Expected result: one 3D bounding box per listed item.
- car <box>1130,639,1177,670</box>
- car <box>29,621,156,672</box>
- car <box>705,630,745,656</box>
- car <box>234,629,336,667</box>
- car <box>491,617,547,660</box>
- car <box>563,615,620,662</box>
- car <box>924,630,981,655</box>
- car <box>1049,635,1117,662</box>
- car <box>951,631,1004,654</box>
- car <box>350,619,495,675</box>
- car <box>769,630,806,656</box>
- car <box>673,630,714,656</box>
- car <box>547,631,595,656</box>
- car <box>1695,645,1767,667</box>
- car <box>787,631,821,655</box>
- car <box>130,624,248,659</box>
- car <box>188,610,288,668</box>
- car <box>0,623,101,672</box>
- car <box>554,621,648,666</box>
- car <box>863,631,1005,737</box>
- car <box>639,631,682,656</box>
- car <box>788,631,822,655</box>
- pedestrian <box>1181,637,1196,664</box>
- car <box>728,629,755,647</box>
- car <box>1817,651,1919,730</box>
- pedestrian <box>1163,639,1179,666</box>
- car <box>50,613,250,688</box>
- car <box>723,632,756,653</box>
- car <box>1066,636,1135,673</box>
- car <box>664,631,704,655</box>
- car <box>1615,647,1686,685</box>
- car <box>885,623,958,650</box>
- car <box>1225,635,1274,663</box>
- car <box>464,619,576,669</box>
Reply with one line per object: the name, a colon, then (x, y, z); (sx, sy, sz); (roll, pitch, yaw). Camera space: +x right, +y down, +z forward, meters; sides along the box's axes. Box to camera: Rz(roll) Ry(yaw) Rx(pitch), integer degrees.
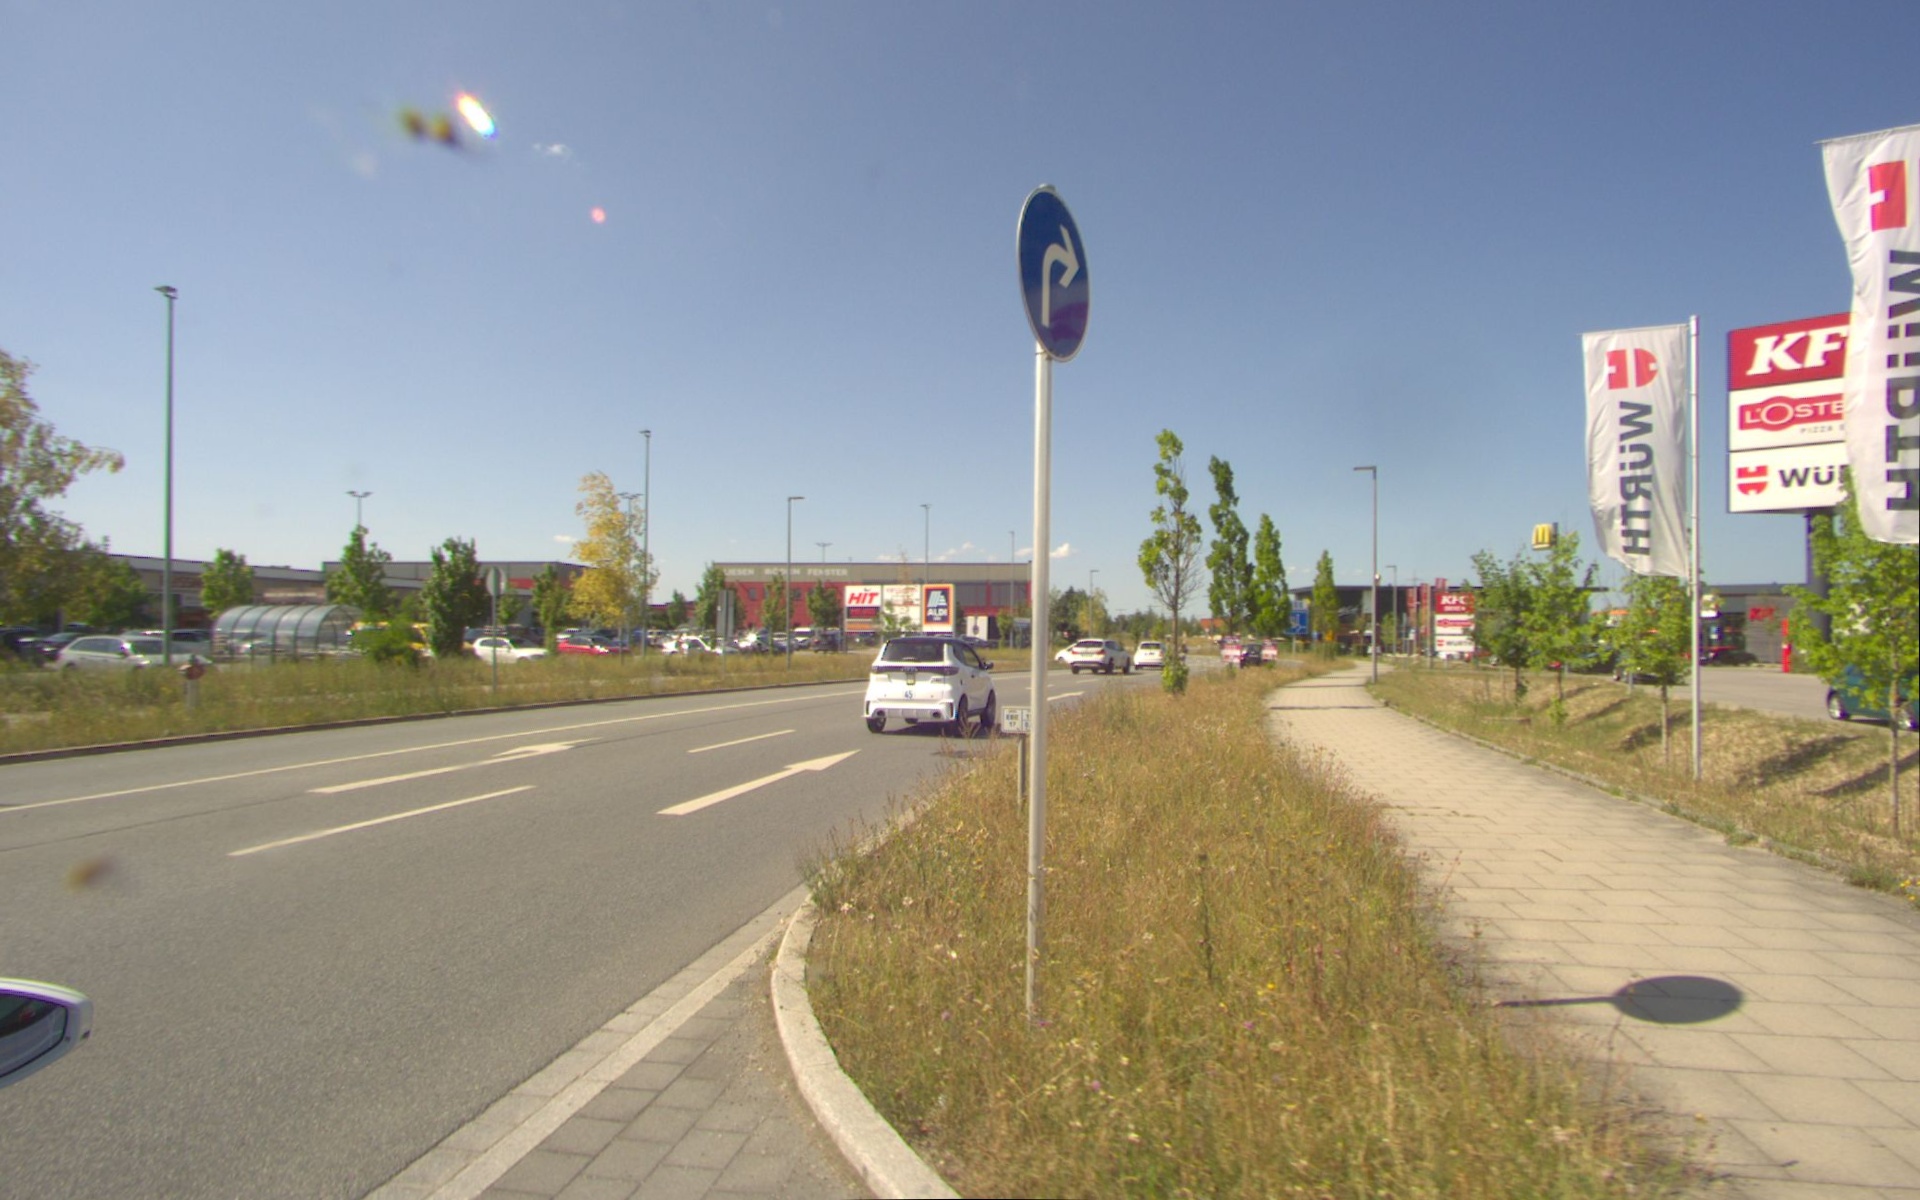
car: (10.257, 2.856, 52.910); (1.712, 1.571, 3.775); (-1, -2, 23)
car: (-39.685, 2.125, 45.989); (1.961, 2.219, 4.487); (0, -2, -1)
car: (-19.444, 3.578, 83.166); (1.961, 2.063, 4.486); (0, -2, 5)
car: (-34.547, 2.437, 51.389); (1.961, 1.887, 4.486); (0, -2, 5)
car: (-30.391, 2.669, 69.161); (1.961, 2.857, 4.487); (0, -2, -1)
car: (-23.025, 2.411, 62.748); (1.961, 2.857, 4.487); (0, -2, -1)
car: (-0.641, 3.589, 84.407); (4.403, 2.063, 1.998); (-1, -2, 17)
car: (7.428, 2.934, 60.501); (3.739, 1.571, 1.729); (-2, -2, 40)
car: (1.561, 3.781, 89.544); (4.403, 2.063, 1.998); (-1, -2, 17)
car: (-20.651, 1.768, 38.469); (5.028, 2.039, 2.160); (0, -1, 22)
car: (-14.099, 3.530, 82.154); (1.961, 2.063, 4.486); (0, -2, 5)
car: (-22.041, 3.577, 82.987); (1.961, 2.063, 4.486); (0, -2, 5)
car: (-32.237, 3.604, 83.198); (1.961, 2.063, 4.486); (0, -2, 5)
car: (59.828, 4.340, 77.758); (4.017, 1.585, 1.880); (1, -2, 4)
car: (-13.727, 3.759, 88.206); (1.961, 2.063, 4.486); (0, -2, 5)
car: (-34.813, 1.869, 45.372); (1.623, 1.539, 4.352); (0, -2, 7)
car: (-37.285, 2.024, 51.854); (1.961, 2.857, 4.487); (0, -2, -1)
car: (-42.727, 2.184, 46.209); (1.962, 2.129, 4.485); (0, -2, 9)
car: (-17.125, 2.054, 47.777); (4.069, 2.039, 1.879); (0, -2, 24)
car: (-0.330, 1.276, 16.156); (1.452, 1.509, 2.998); (0, -2, 16)
car: (-24.785, 3.583, 83.007); (1.961, 2.063, 4.486); (0, -2, 5)
car: (-13.599, 3.759, 88.210); (1.961, 2.063, 4.486); (0, -2, 5)
pedestrian: (14.362, 3.170, 62.991); (0.703, 1.686, 0.661); (1, -1, -39)
car: (-26.114, 4.577, 119.759); (1.961, 2.063, 4.486); (0, -2, 5)
car: (19.609, 1.810, 20.345); (1.813, 1.468, 4.222); (0, -2, 18)
pedestrian: (13.229, 3.305, 62.849); (0.703, 1.686, 0.661); (1, -1, -39)
car: (-23.549, 1.418, 29.139); (5.025, 2.039, 2.161); (0, -1, 19)
car: (-21.325, 4.109, 97.003); (1.961, 2.063, 4.486); (0, -2, 5)
car: (6.318, 2.398, 44.616); (1.713, 1.571, 4.556); (-1, -2, 26)
car: (-24.402, 3.794, 88.585); (1.961, 2.063, 4.486); (0, -2, 5)
car: (29.250, 2.742, 42.542); (1.848, 1.484, 4.351); (0, -2, 26)
car: (-2.523, 2.429, 66.097); (4.402, 1.737, 1.998); (-1, -2, 16)
car: (17.017, 2.845, 58.702); (1.969, 1.570, 3.828); (0, -2, 29)
car: (-19.001, 1.880, 43.257); (4.334, 2.039, 1.940); (0, -2, 22)
